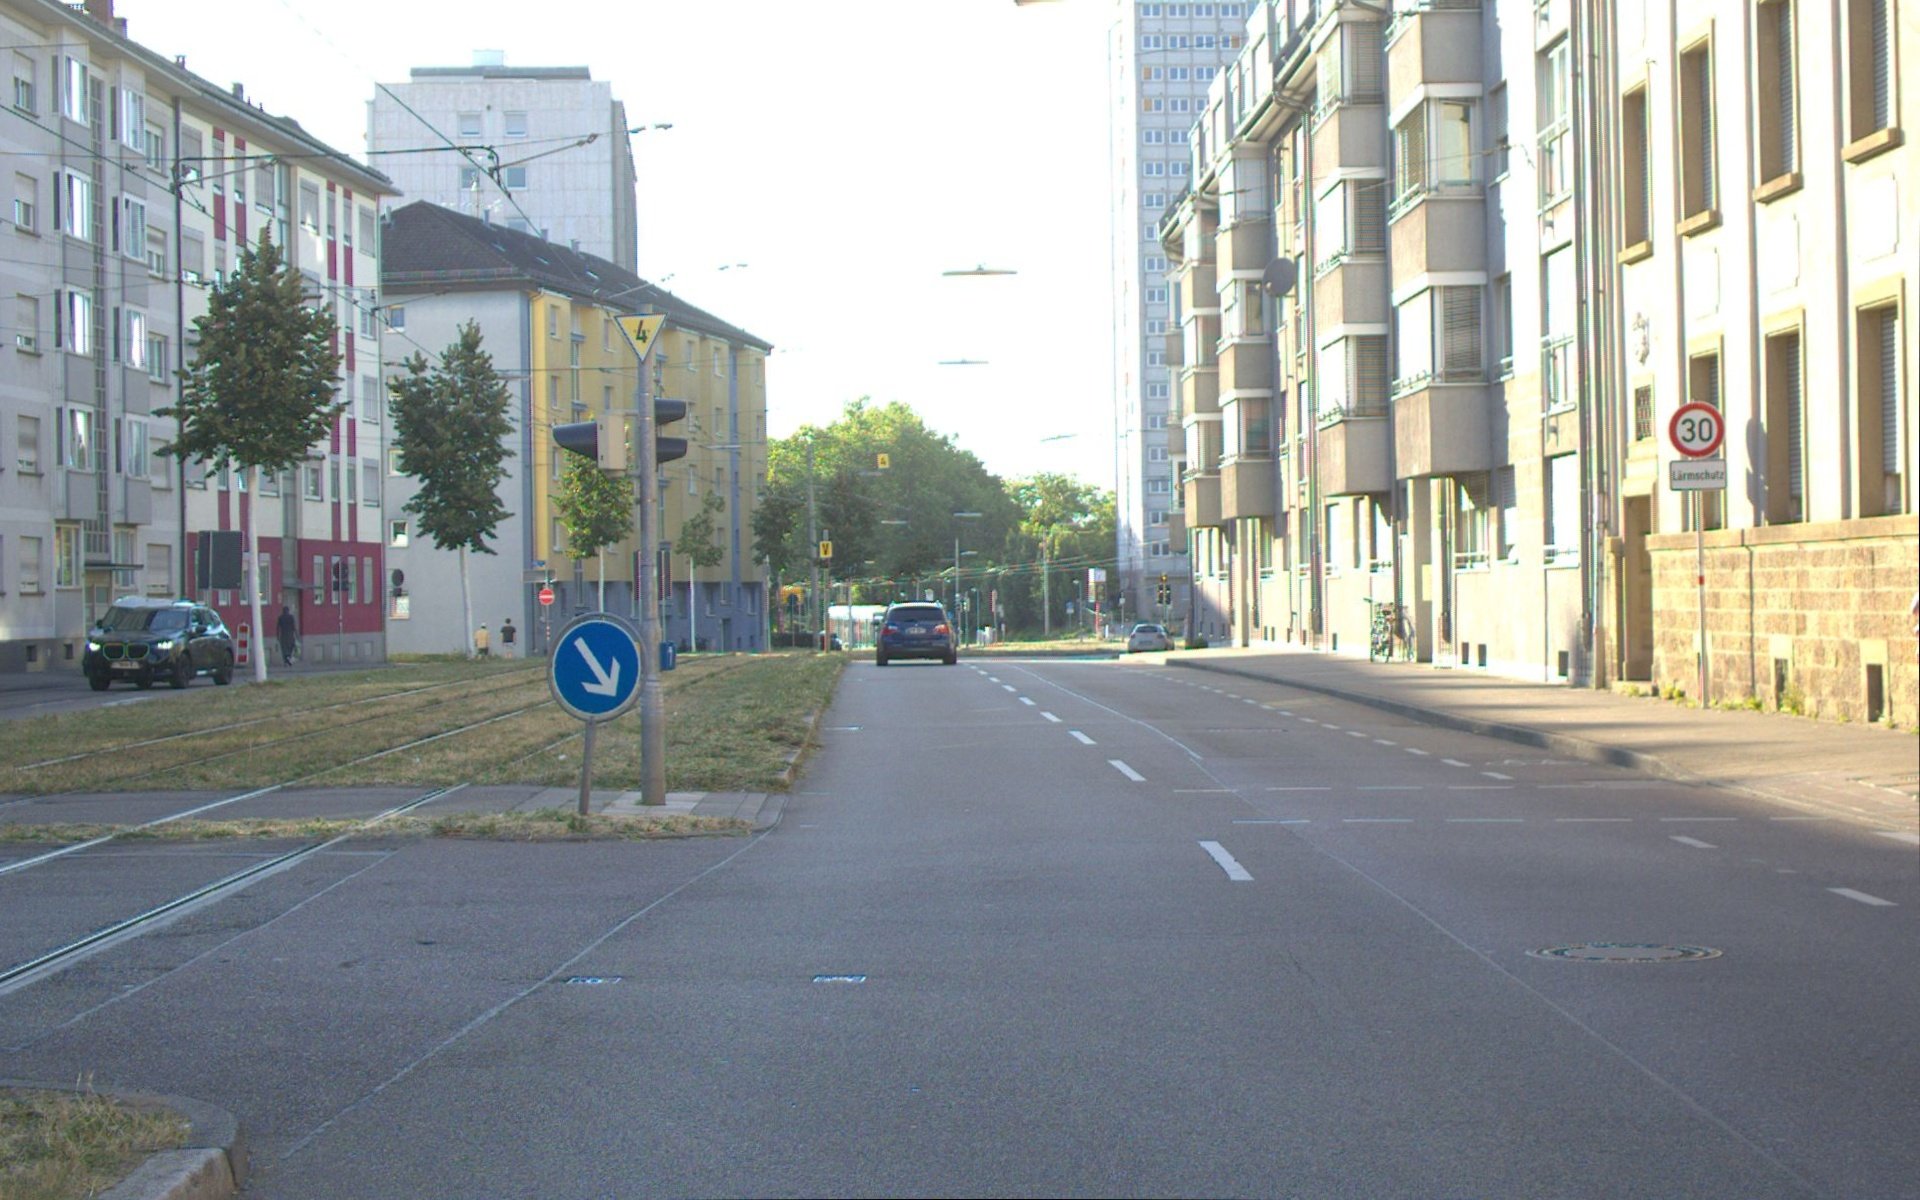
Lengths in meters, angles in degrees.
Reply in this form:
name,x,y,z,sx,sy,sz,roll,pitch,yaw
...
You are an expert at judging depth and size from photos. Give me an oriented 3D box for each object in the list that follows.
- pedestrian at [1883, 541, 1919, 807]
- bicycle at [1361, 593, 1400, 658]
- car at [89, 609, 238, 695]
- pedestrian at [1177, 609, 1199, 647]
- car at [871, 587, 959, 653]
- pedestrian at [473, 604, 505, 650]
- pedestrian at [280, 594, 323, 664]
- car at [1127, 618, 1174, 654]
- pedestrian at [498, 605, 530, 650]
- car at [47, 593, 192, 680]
name,x,y,z,sx,sy,sz,roll,pitch,yaw
pedestrian,6.758,0.497,23.155,0.835,1.756,0.824,1,-1,-1
bicycle,7.194,0.441,58.857,0.383,1.092,1.504,-1,-1,-3
car,-15.960,1.009,69.114,1.897,1.628,4.747,-1,0,0
pedestrian,7.598,0.936,114.793,0.691,1.230,0.736,0,-1,1
car,-0.992,0.460,77.813,1.926,1.451,4.327,1,-1,0
pedestrian,-17.462,1.011,127.382,0.962,1.688,1.011,0,-1,4
pedestrian,-19.259,0.842,100.546,1.005,2.029,0.885,0,-1,7
car,8.430,1.585,152.048,1.994,1.558,3.999,0,-1,2
pedestrian,-16.600,1.034,127.916,0.962,1.664,1.011,0,-1,4
car,-19.190,0.836,78.687,1.994,1.918,4.541,0,-1,3
